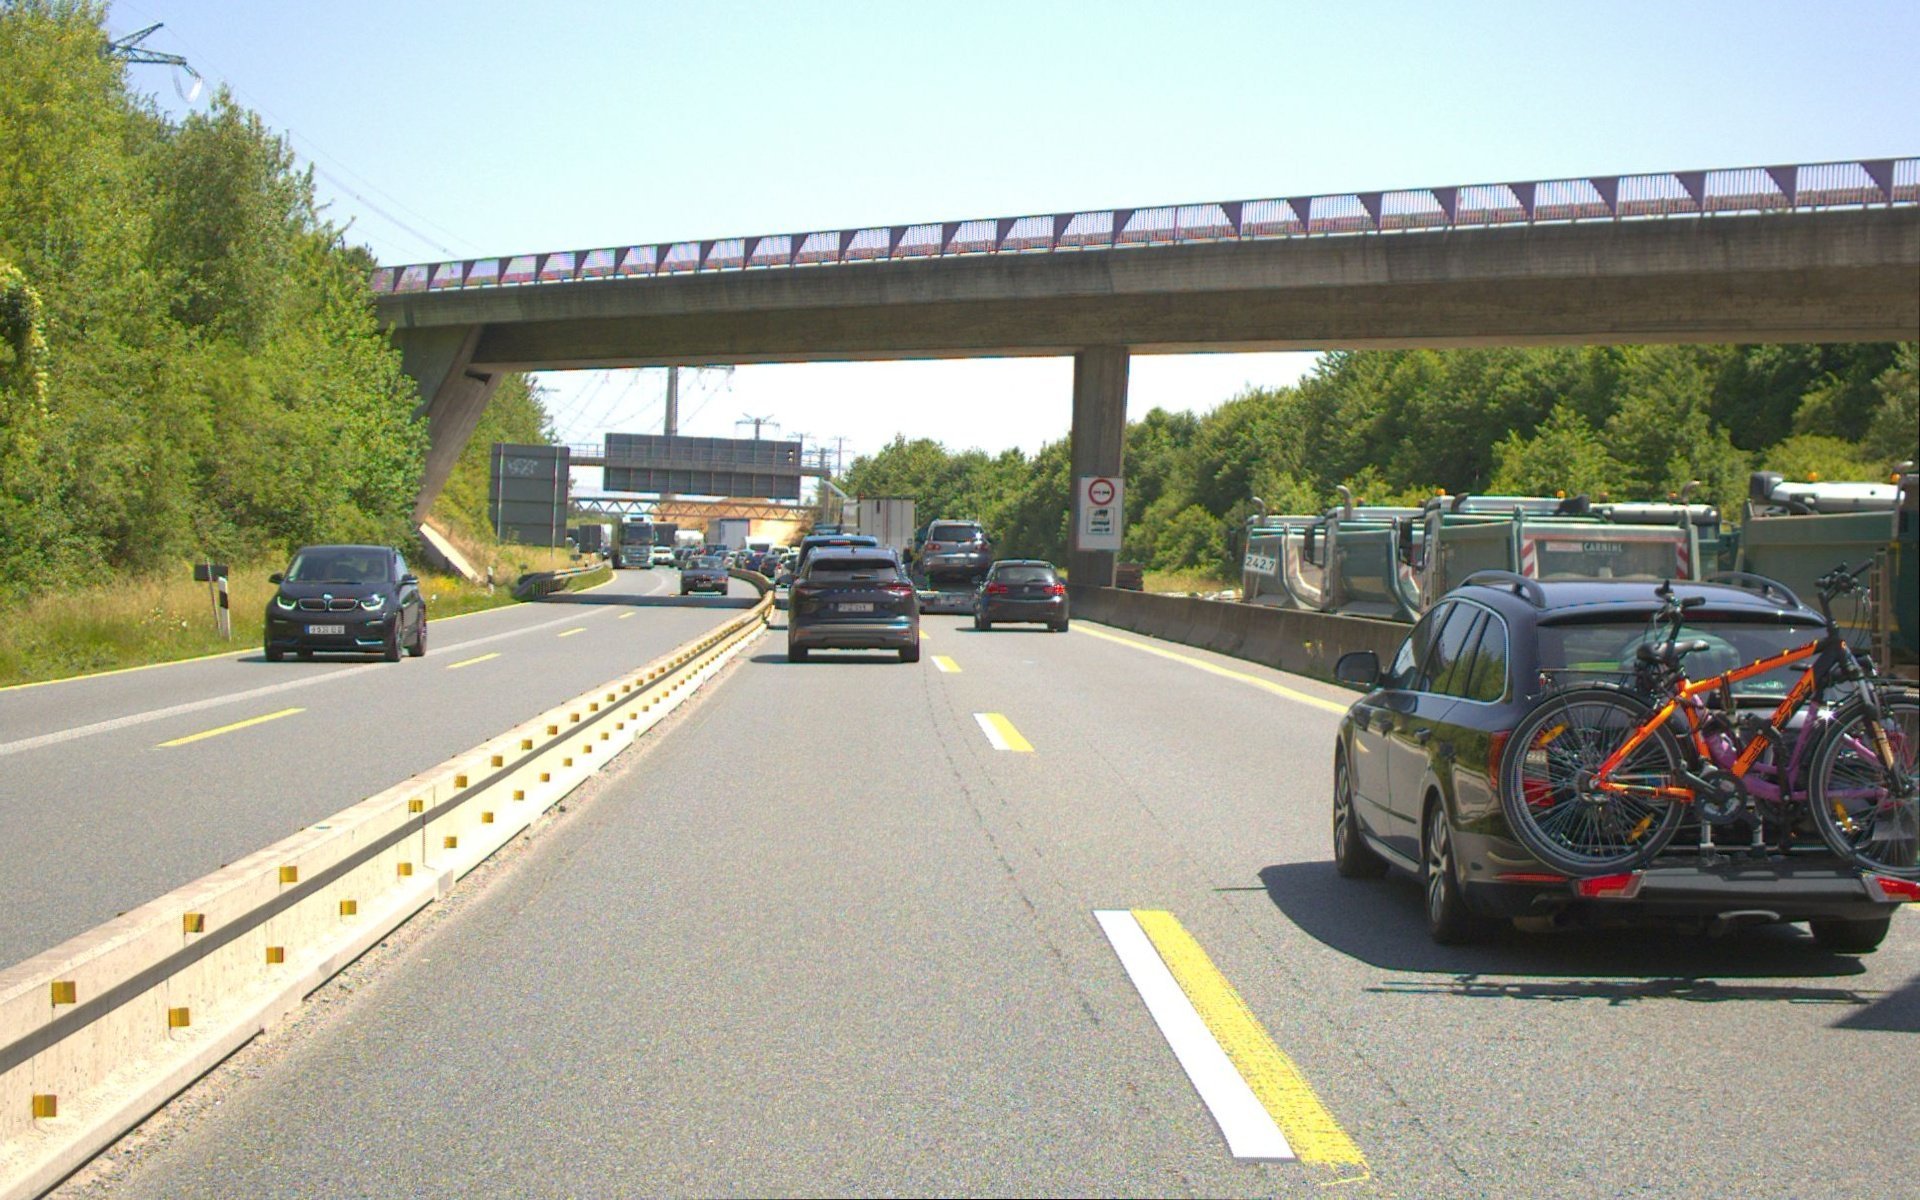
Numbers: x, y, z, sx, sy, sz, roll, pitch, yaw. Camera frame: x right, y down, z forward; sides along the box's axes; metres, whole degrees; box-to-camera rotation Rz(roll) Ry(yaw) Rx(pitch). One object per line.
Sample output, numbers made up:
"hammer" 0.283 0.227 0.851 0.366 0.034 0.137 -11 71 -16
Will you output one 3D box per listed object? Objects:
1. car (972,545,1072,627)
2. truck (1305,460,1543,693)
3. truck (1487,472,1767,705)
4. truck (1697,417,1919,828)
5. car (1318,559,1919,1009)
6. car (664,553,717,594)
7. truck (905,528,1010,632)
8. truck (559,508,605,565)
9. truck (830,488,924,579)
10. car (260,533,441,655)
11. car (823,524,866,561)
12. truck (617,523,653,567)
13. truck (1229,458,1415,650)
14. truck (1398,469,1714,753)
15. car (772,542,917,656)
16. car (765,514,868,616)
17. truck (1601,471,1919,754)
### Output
"car" 1.227 -0.303 69.700 1.899 1.580 4.276 1 1 0
"truck" 8.214 -0.463 62.040 2.687 3.843 9.326 1 1 -2
"truck" 11.461 -0.256 60.039 2.687 3.714 9.326 1 1 -2
"truck" 9.523 0.170 32.604 2.687 3.545 9.326 1 1 -2
"car" 2.699 0.606 14.041 1.899 1.485 4.947 1 0 0
"car" -9.610 -0.951 122.640 1.673 1.389 4.071 1 0 -2
"truck" -0.111 -0.573 89.478 2.405 2.549 7.501 1 1 -2
"truck" -21.926 -3.678 199.652 2.508 3.175 10.112 1 1 -6
"truck" -3.728 -2.927 151.716 3.292 3.832 10.112 1 1 -6
"car" -8.306 -0.116 47.151 1.778 1.571 4.069 1 1 -1
"car" -6.283 -3.108 186.875 1.899 1.962 4.277 1 1 -7
"truck" -24.104 -4.098 254.731 2.508 3.175 10.112 1 1 -6
"truck" 7.705 -1.006 74.373 2.687 3.830 9.326 1 1 -2
"truck" 8.549 0.080 50.534 2.687 3.748 9.326 1 1 -2
"car" -1.590 -0.032 48.598 1.899 1.500 4.276 1 1 0
"car" -2.878 -0.714 69.915 1.899 1.962 4.276 1 1 0
"truck" 11.398 0.093 48.258 2.687 3.545 9.326 1 1 -2
